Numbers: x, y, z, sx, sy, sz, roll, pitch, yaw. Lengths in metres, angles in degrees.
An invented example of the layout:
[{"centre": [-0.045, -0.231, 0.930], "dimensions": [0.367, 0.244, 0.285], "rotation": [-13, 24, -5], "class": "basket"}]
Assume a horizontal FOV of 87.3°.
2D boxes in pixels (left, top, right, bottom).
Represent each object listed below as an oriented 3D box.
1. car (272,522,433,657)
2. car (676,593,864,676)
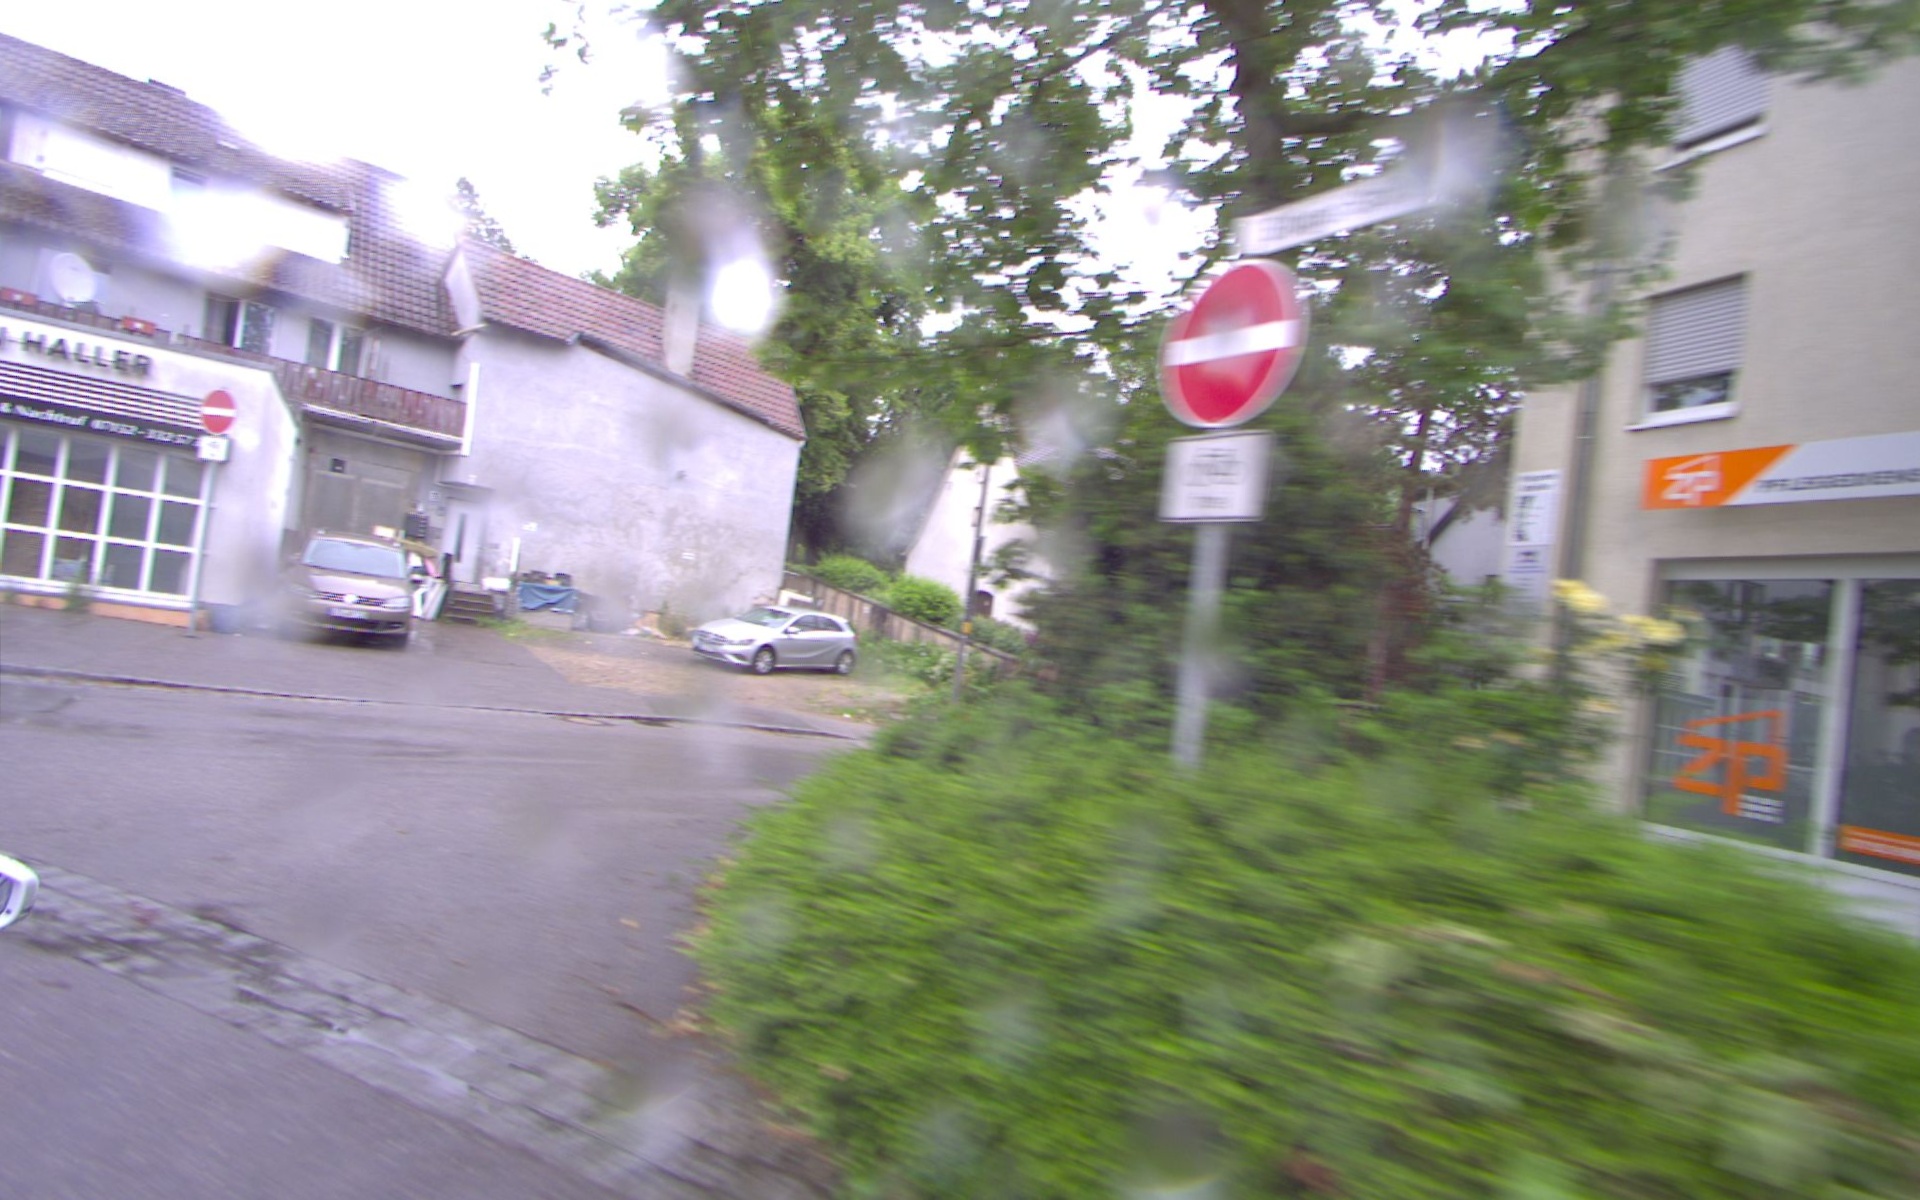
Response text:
[{"centre": [-10.484, -0.276, 17.263], "dimensions": [1.913, 1.748, 4.625], "rotation": [9, -1, -34], "class": "car"}, {"centre": [-4.192, 0.836, 22.759], "dimensions": [1.714, 1.405, 4.029], "rotation": [10, 1, 34], "class": "car"}]
